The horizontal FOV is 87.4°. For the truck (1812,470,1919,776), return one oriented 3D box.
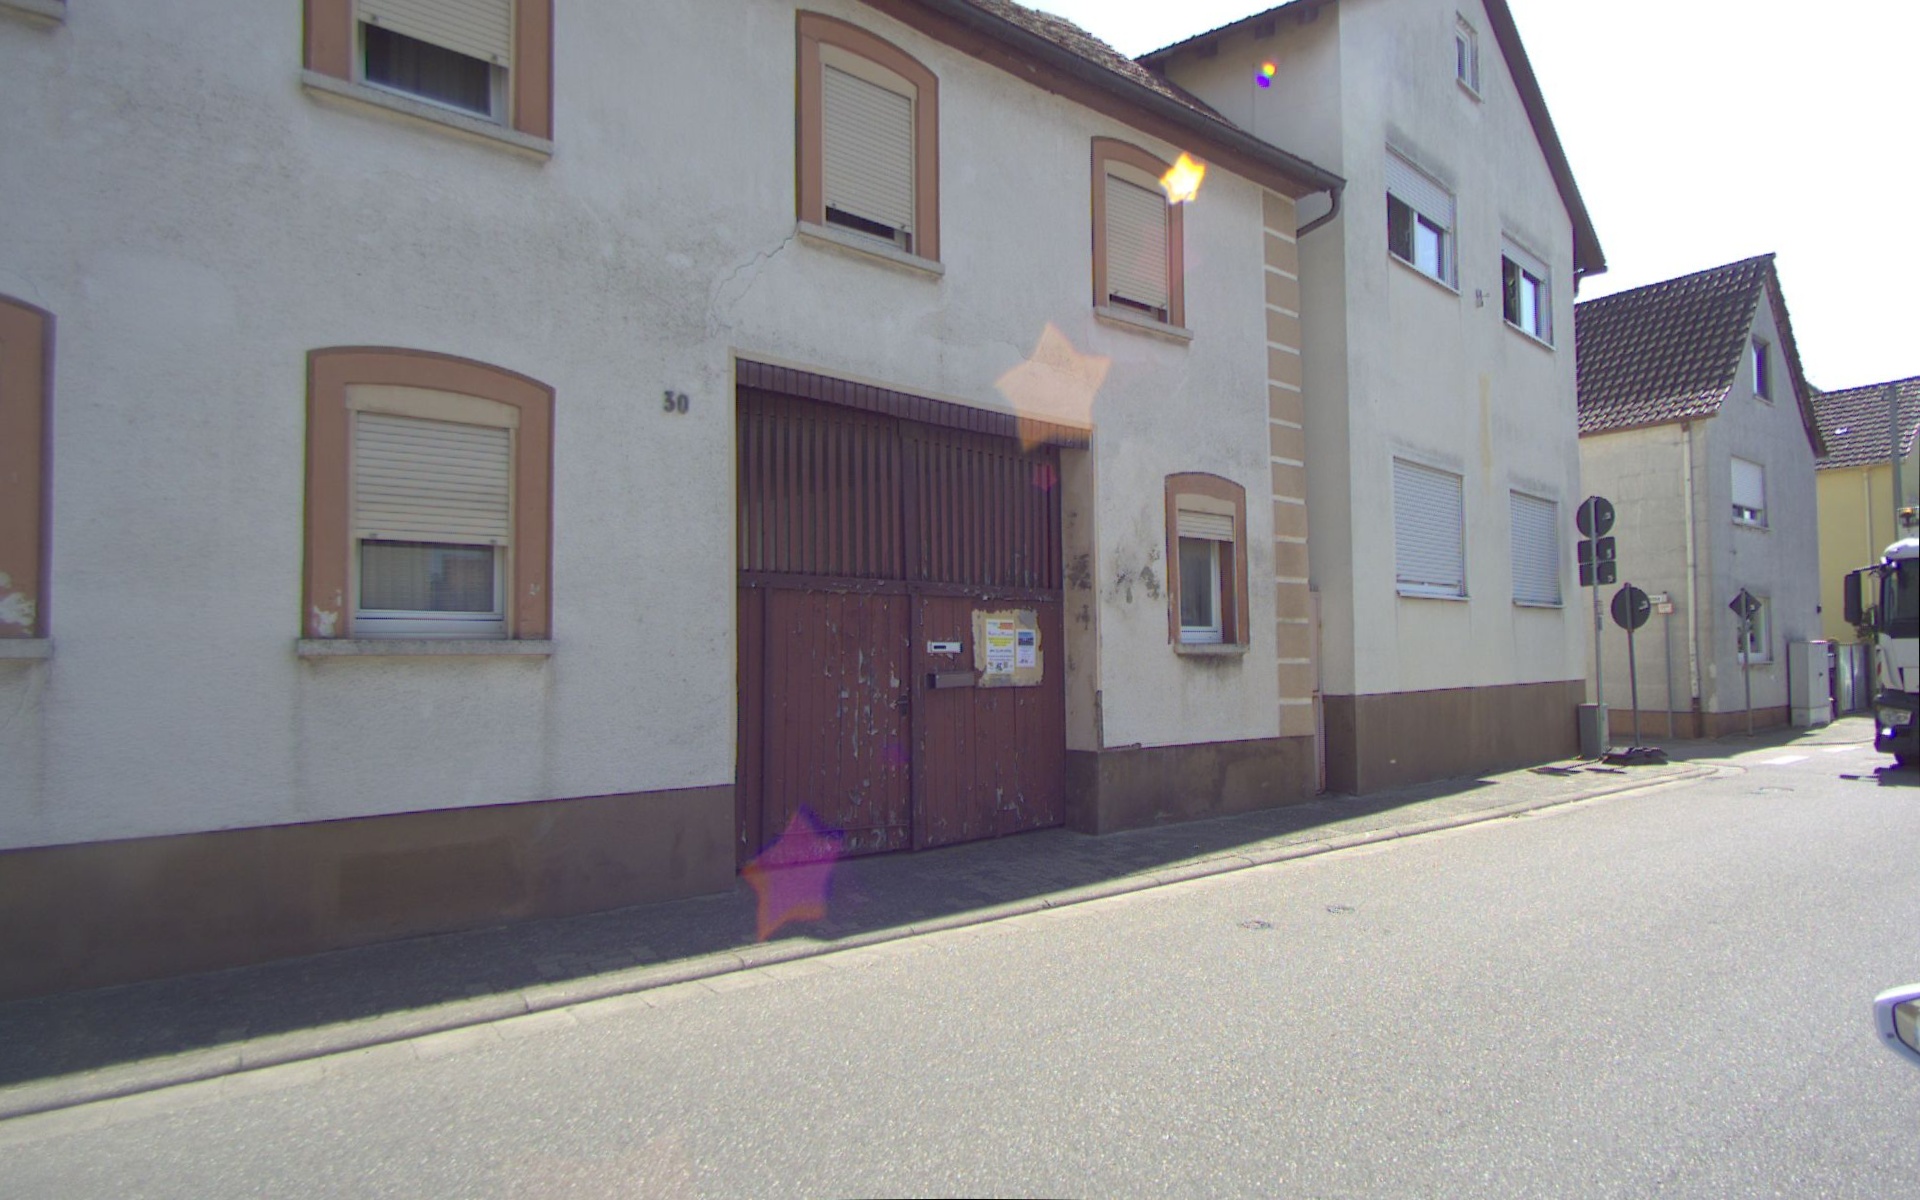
[{"bbox_3d":[16.597,0.419,15.147,10.752,3.799,2.681,2,-4,-33],"label":"truck"}]
